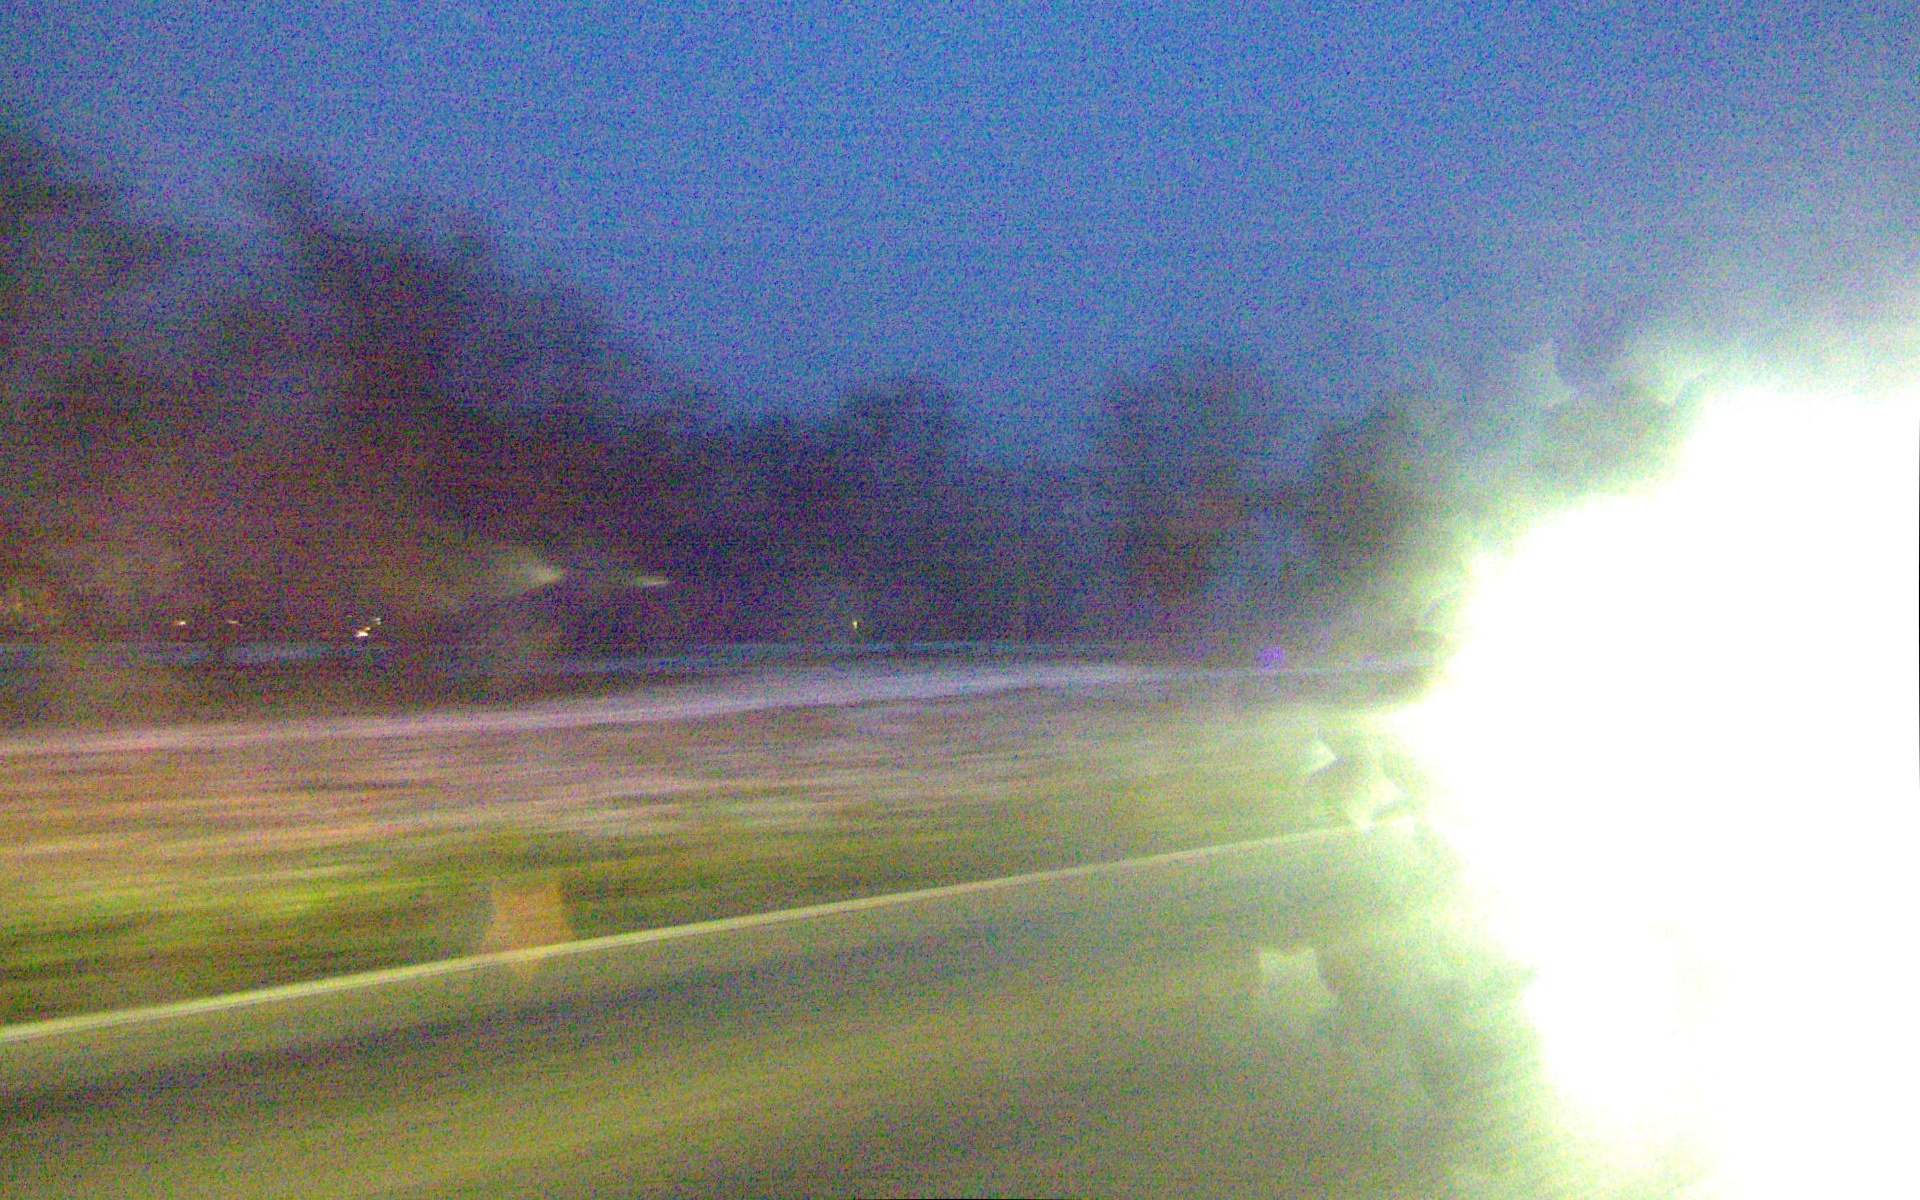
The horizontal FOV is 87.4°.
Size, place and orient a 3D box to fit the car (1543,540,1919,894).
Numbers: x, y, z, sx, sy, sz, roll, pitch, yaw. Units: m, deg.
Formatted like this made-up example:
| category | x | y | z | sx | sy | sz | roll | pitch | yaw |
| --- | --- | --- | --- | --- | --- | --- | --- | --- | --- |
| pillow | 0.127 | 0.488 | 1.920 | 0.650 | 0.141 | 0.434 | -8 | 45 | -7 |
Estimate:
| category | x | y | z | sx | sy | sz | roll | pitch | yaw |
| --- | --- | --- | --- | --- | --- | --- | --- | --- | --- |
| car | 6.872 | 0.644 | 7.937 | 4.795 | 2.041 | 1.981 | 0 | 2 | -34 |

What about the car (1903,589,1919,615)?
| category | x | y | z | sx | sy | sz | roll | pitch | yaw |
| --- | --- | --- | --- | --- | --- | --- | --- | --- | --- |
| car | 65.243 | 0.114 | 65.881 | 1.987 | 1.758 | 4.863 | -1 | 0 | -45 |
